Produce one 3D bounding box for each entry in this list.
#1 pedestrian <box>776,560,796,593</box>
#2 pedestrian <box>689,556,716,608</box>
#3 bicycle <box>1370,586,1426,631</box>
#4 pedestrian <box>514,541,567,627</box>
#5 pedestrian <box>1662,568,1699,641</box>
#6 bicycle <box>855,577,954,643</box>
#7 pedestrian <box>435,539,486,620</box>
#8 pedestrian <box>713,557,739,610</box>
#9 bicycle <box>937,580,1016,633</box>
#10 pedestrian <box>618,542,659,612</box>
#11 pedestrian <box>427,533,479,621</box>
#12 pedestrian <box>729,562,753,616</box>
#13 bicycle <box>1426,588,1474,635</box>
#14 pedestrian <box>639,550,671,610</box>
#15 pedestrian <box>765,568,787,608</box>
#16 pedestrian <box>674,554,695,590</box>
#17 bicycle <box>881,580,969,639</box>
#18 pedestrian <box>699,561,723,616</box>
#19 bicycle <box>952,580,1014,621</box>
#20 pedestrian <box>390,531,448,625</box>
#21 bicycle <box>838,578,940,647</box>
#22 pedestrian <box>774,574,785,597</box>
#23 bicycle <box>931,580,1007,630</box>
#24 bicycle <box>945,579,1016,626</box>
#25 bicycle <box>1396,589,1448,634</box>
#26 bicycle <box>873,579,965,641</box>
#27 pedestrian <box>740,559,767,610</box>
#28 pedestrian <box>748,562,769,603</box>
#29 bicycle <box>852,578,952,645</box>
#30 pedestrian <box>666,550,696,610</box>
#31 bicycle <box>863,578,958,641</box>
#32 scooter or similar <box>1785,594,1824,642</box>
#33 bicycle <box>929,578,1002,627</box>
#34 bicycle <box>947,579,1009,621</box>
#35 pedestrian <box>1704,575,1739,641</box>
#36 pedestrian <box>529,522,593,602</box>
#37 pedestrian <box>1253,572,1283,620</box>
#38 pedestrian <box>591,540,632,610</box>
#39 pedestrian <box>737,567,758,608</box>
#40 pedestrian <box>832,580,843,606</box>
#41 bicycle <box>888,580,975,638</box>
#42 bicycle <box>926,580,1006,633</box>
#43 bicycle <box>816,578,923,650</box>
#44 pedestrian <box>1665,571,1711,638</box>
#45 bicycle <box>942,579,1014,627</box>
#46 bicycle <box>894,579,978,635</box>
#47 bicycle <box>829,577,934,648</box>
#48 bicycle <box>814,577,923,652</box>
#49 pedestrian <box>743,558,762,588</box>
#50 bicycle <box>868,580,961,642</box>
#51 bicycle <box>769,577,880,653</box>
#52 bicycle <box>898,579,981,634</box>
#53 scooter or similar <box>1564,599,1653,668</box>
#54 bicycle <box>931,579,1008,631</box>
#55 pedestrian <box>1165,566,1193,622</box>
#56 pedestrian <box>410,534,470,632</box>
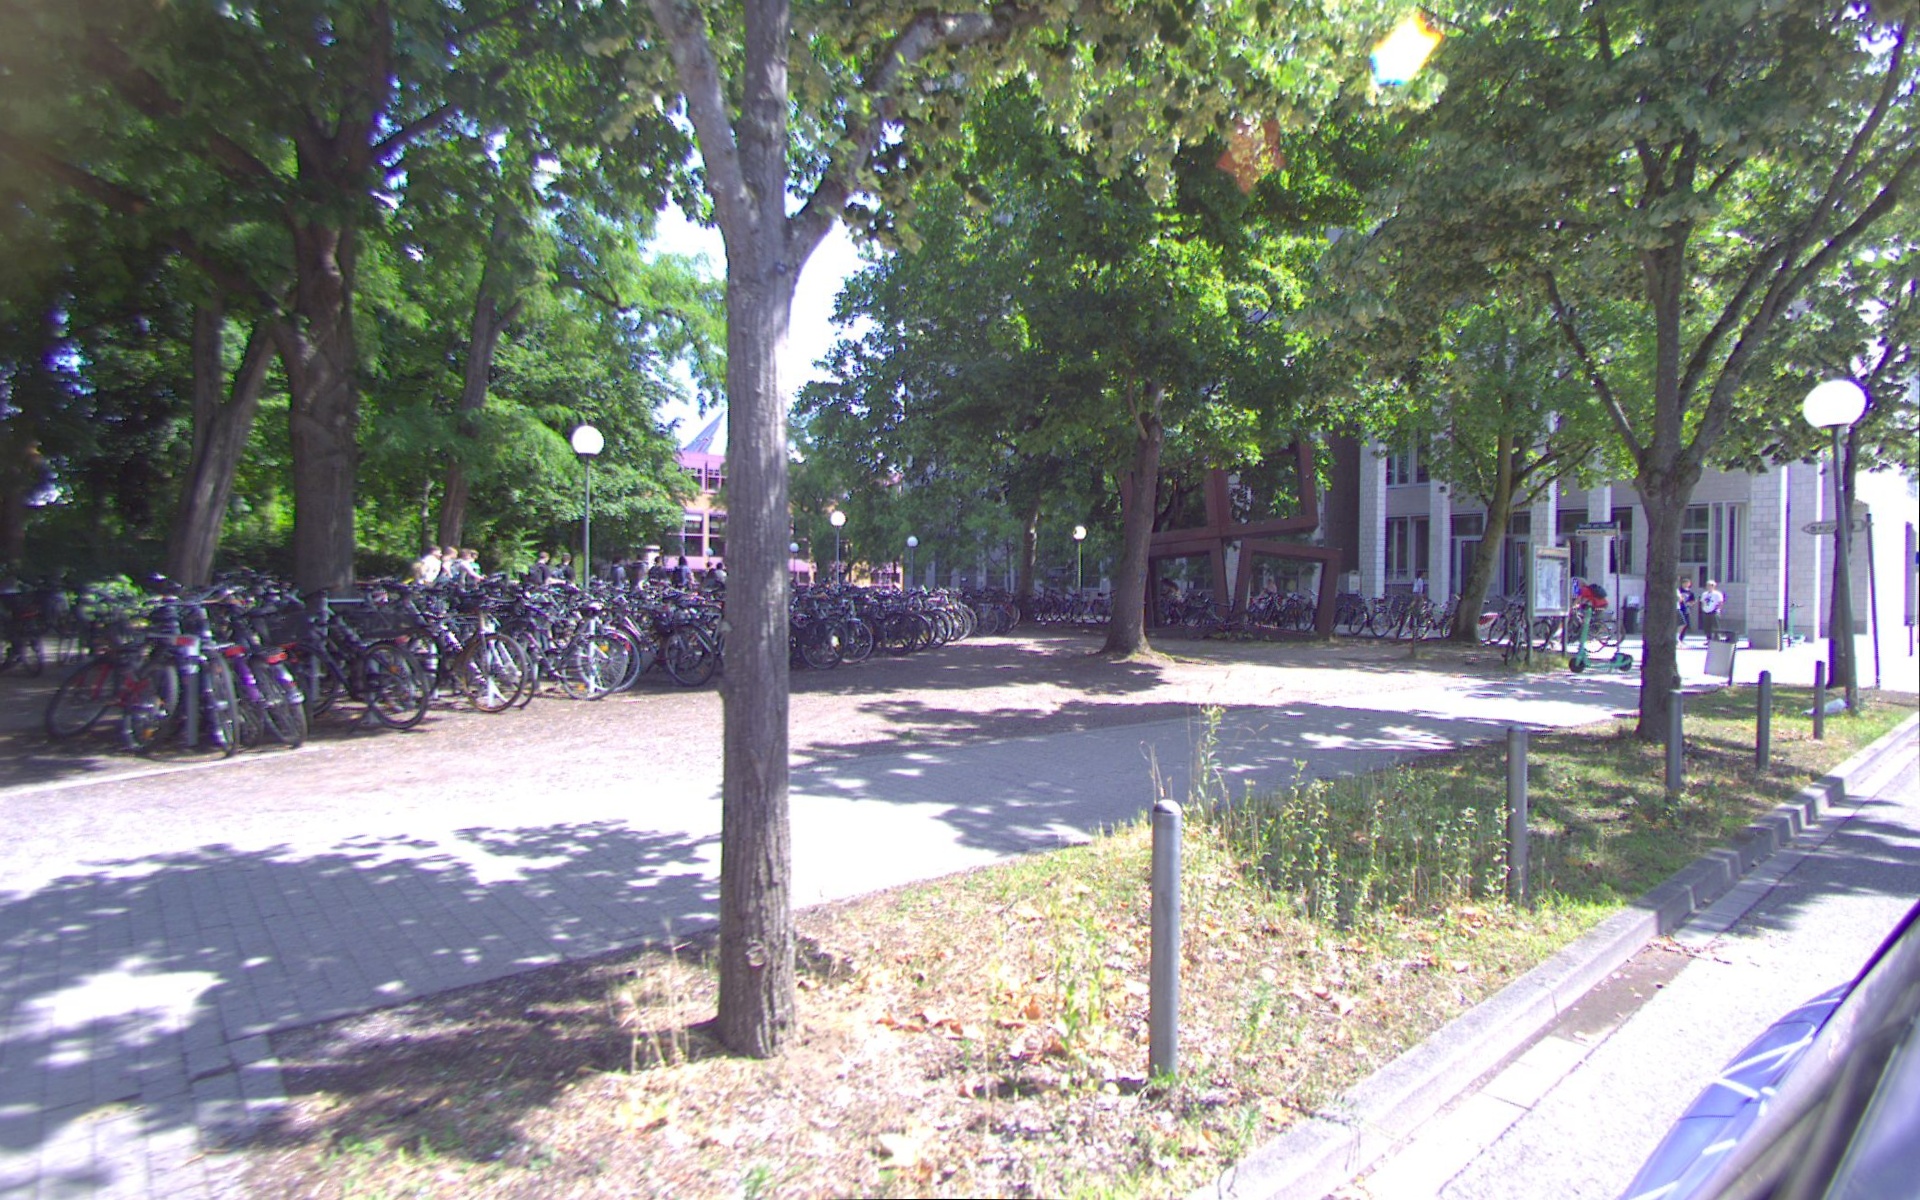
[{"bbox_3d":[-8.385,-1.126,48.760,0.730,1.589,0.721,1,0,-33],"label":"pedestrian"},{"bbox_3d":[-9.066,-0.634,35.672,0.824,1.797,0.994,1,0,-11],"label":"pedestrian"},{"bbox_3d":[11.219,0.226,25.917,1.664,1.099,0.482,2,1,-36],"label":"bicycle"},{"bbox_3d":[-9.023,-0.351,21.781,0.735,1.797,0.717,1,0,18],"label":"pedestrian"},{"bbox_3d":[19.321,0.111,27.127,0.675,1.914,0.685,-1,1,-44],"label":"pedestrian"},{"bbox_3d":[-1.042,0.187,19.059,1.811,1.185,0.345,1,0,2],"label":"bicycle"},{"bbox_3d":[-11.227,-0.462,22.752,0.737,1.797,0.715,1,0,24],"label":"pedestrian"},{"bbox_3d":[-8.201,-0.580,35.556,0.824,1.797,0.994,1,0,-11],"label":"pedestrian"},{"bbox_3d":[0.383,0.146,23.893,1.817,1.185,0.387,1,1,13],"label":"bicycle"},{"bbox_3d":[-8.387,-0.603,26.400,0.732,1.797,0.719,1,0,9],"label":"pedestrian"},{"bbox_3d":[-10.603,-0.483,21.170,0.742,1.797,0.710,2,0,41],"label":"pedestrian"},{"bbox_3d":[-7.455,-0.366,34.416,0.729,1.797,0.722,1,0,-15],"label":"pedestrian"},{"bbox_3d":[12.148,0.292,25.067,1.447,1.099,0.460,2,1,-40],"label":"bicycle"},{"bbox_3d":[-9.284,-0.600,30.827,0.730,1.797,0.721,1,0,-3],"label":"pedestrian"},{"bbox_3d":[-7.402,-0.475,40.795,0.731,1.589,0.721,1,0,1],"label":"pedestrian"},{"bbox_3d":[-11.840,-1.212,43.530,0.679,1.530,0.514,3,2,6],"label":"pedestrian"},{"bbox_3d":[-0.734,0.187,21.295,1.817,1.185,0.352,1,1,13],"label":"bicycle"},{"bbox_3d":[-8.421,-0.385,34.151,0.729,1.797,0.722,1,0,-15],"label":"pedestrian"},{"bbox_3d":[0.699,0.011,30.252,1.812,1.185,0.345,1,0,5],"label":"bicycle"},{"bbox_3d":[-10.562,-0.427,19.752,0.739,1.797,0.712,2,0,34],"label":"pedestrian"},{"bbox_3d":[-1.281,0.214,18.212,1.819,1.185,0.344,1,1,16],"label":"bicycle"},{"bbox_3d":[-11.991,-0.969,67.304,0.445,1.446,0.594,3,2,11],"label":"pedestrian"},{"bbox_3d":[0.227,0.120,25.020,1.816,1.185,0.412,1,1,11],"label":"bicycle"},{"bbox_3d":[0.543,0.057,26.863,1.816,1.185,0.412,1,1,11],"label":"bicycle"},{"bbox_3d":[11.745,0.296,25.728,1.486,1.099,0.482,2,1,-36],"label":"bicycle"},{"bbox_3d":[-0.832,0.194,20.576,1.817,1.185,0.344,1,1,13],"label":"bicycle"},{"bbox_3d":[-7.396,-0.559,36.325,0.837,1.797,0.813,1,0,-7],"label":"pedestrian"},{"bbox_3d":[-8.144,-0.707,40.921,0.730,1.589,0.721,1,0,-4],"label":"pedestrian"},{"bbox_3d":[-1.064,0.204,18.686,1.811,1.185,0.345,1,0,2],"label":"bicycle"},{"bbox_3d":[-8.491,-0.613,30.829,0.730,1.797,0.721,1,0,-3],"label":"pedestrian"},{"bbox_3d":[-0.977,0.184,19.908,1.817,1.185,0.344,1,1,13],"label":"bicycle"},{"bbox_3d":[22.969,0.484,27.525,1.485,1.226,0.564,0,4,-42],"label":"scooter or similar"},{"bbox_3d":[0.143,0.048,25.726,1.816,1.185,0.412,1,1,11],"label":"bicycle"},{"bbox_3d":[0.541,0.004,29.916,1.812,1.185,0.345,1,0,5],"label":"bicycle"},{"bbox_3d":[20.641,0.207,27.432,0.533,1.751,0.613,0,1,-40],"label":"pedestrian"},{"bbox_3d":[-9.178,-0.870,23.279,0.954,1.797,0.963,2,0,27],"label":"pedestrian"},{"bbox_3d":[11.478,-0.154,37.680,0.930,1.762,0.741,0,0,30],"label":"pedestrian"},{"bbox_3d":[-9.133,-0.649,26.539,0.732,1.797,0.719,1,0,9],"label":"pedestrian"},{"bbox_3d":[-9.633,-0.572,45.969,0.732,1.812,0.720,1,0,5],"label":"pedestrian"},{"bbox_3d":[-5.946,-0.332,49.181,0.379,1.228,0.403,1,0,-33],"label":"pedestrian"},{"bbox_3d":[-0.618,0.176,21.651,1.817,1.185,0.352,1,1,13],"label":"bicycle"},{"bbox_3d":[0.133,0.148,23.558,1.817,1.185,0.352,1,1,13],"label":"bicycle"},{"bbox_3d":[-1.576,0.222,17.545,1.819,1.185,0.401,1,1,16],"label":"bicycle"},{"bbox_3d":[20.096,0.123,27.951,0.796,1.819,0.619,1,1,6],"label":"pedestrian"},{"bbox_3d":[0.463,0.076,26.374,1.816,1.185,0.412,1,1,11],"label":"bicycle"},{"bbox_3d":[-0.533,0.144,22.442,1.817,1.185,0.352,1,1,13],"label":"bicycle"},{"bbox_3d":[-1.387,0.214,17.876,1.819,1.185,0.344,1,1,16],"label":"bicycle"},{"bbox_3d":[-1.520,0.222,16.852,1.768,1.185,0.401,1,1,16],"label":"bicycle"},{"bbox_3d":[-10.940,-1.423,53.370,0.730,1.589,0.721,1,0,-33],"label":"pedestrian"},{"bbox_3d":[-0.904,0.205,20.246,1.817,1.185,0.344,1,1,13],"label":"bicycle"},{"bbox_3d":[-2.230,0.225,16.634,1.768,1.185,0.401,1,1,16],"label":"bicycle"},{"bbox_3d":[-0.462,0.131,22.793,1.817,1.185,0.352,1,1,13],"label":"bicycle"},{"bbox_3d":[11.090,0.569,17.307,1.333,1.128,0.498,2,0,-16],"label":"scooter or similar"},{"bbox_3d":[0.233,0.114,24.392,1.816,1.185,0.387,1,1,11],"label":"bicycle"},{"bbox_3d":[6.861,-0.183,31.634,0.427,1.725,0.929,-1,-1,44],"label":"pedestrian"},{"bbox_3d":[-9.836,-0.328,19.137,0.739,1.797,0.712,2,0,34],"label":"pedestrian"}]
